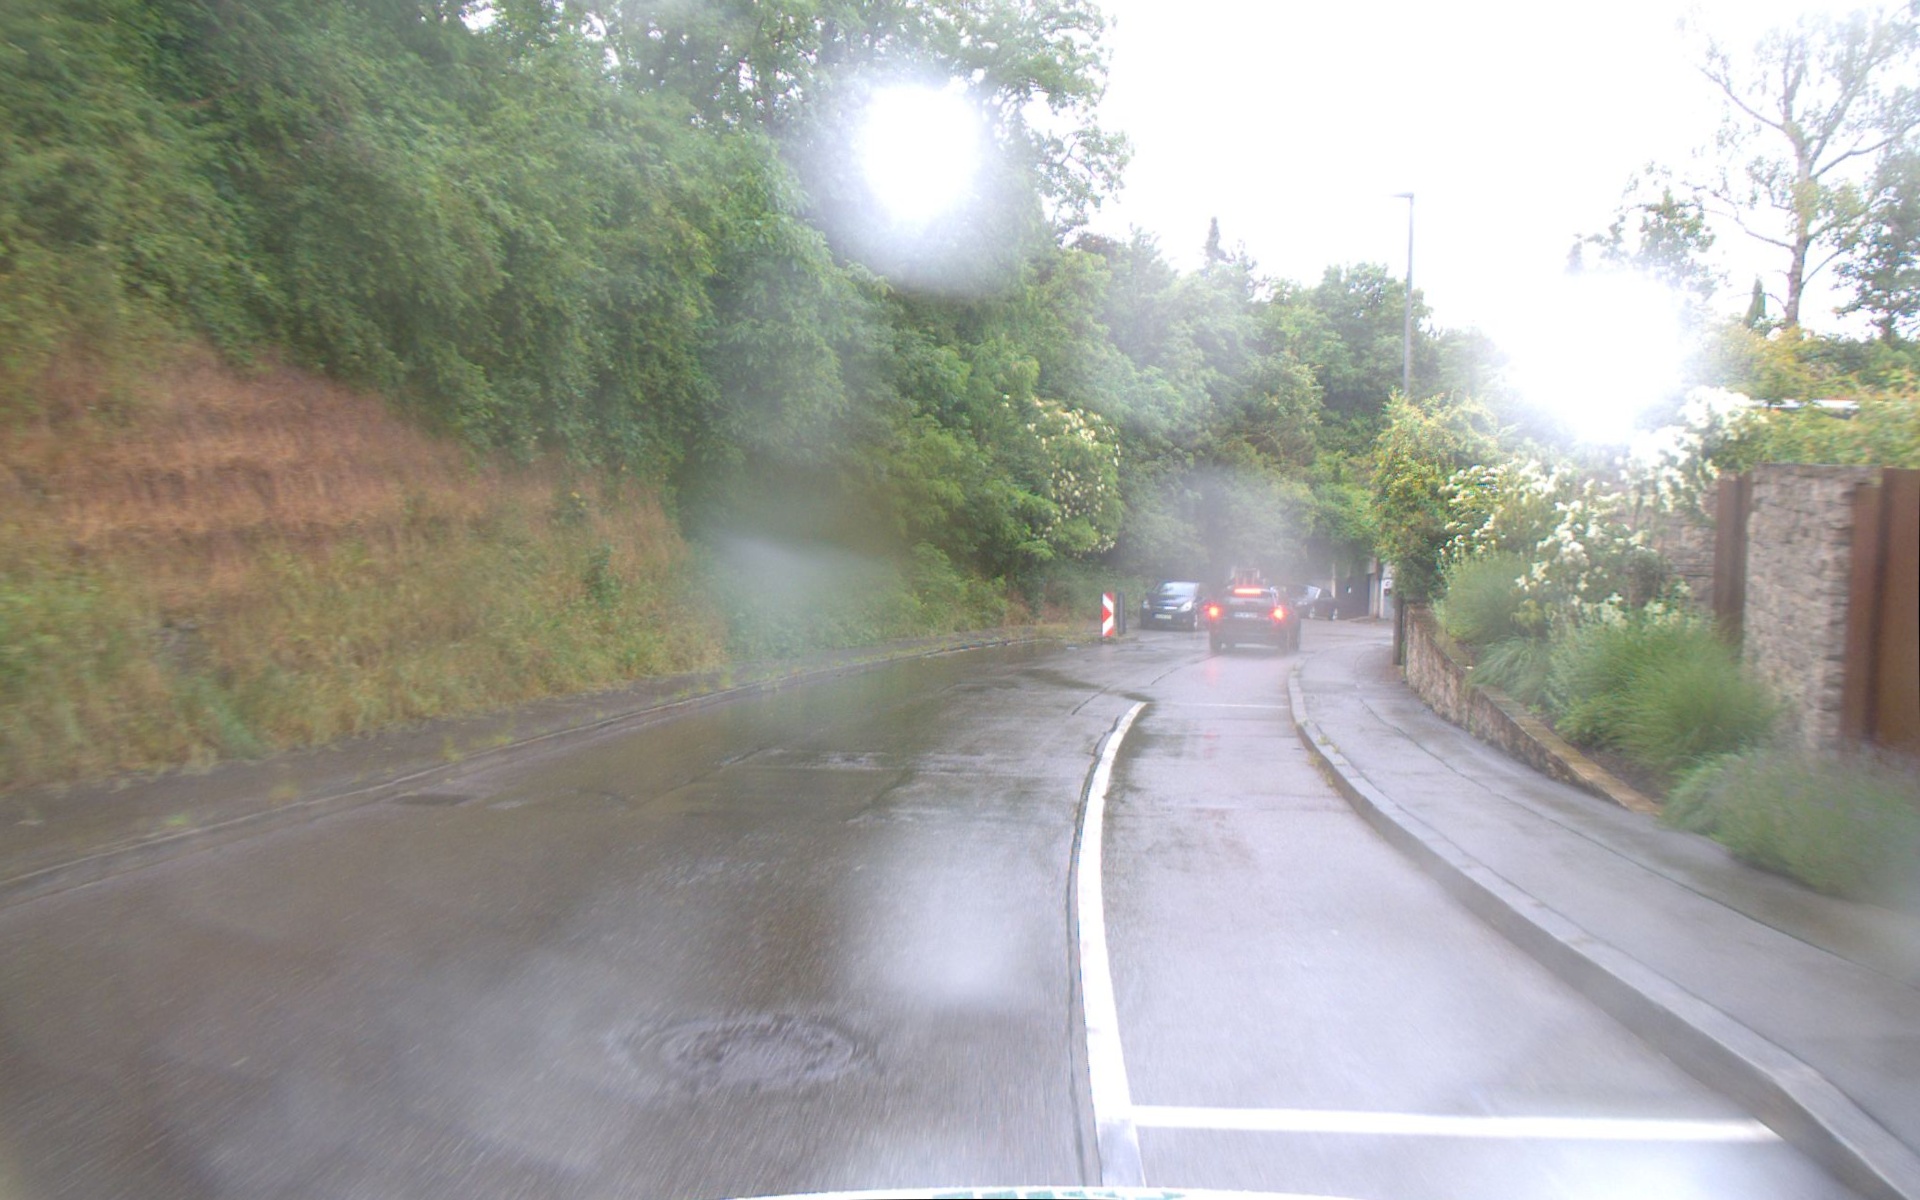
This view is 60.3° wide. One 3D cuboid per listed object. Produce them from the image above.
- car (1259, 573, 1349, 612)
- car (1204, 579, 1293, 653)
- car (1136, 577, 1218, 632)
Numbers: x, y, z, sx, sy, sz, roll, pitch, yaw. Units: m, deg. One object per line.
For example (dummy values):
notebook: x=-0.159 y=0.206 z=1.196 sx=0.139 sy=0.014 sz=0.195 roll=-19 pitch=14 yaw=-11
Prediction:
car: x=15.108 y=-0.329 z=72.474 sx=1.962 sy=1.534 sz=4.549 roll=4 pitch=1 yaw=38
car: x=6.609 y=0.317 z=37.594 sx=1.828 sy=1.538 sz=4.096 roll=1 pitch=1 yaw=12
car: x=6.612 y=0.092 z=50.073 sx=1.664 sy=1.496 sz=4.002 roll=3 pitch=2 yaw=19
